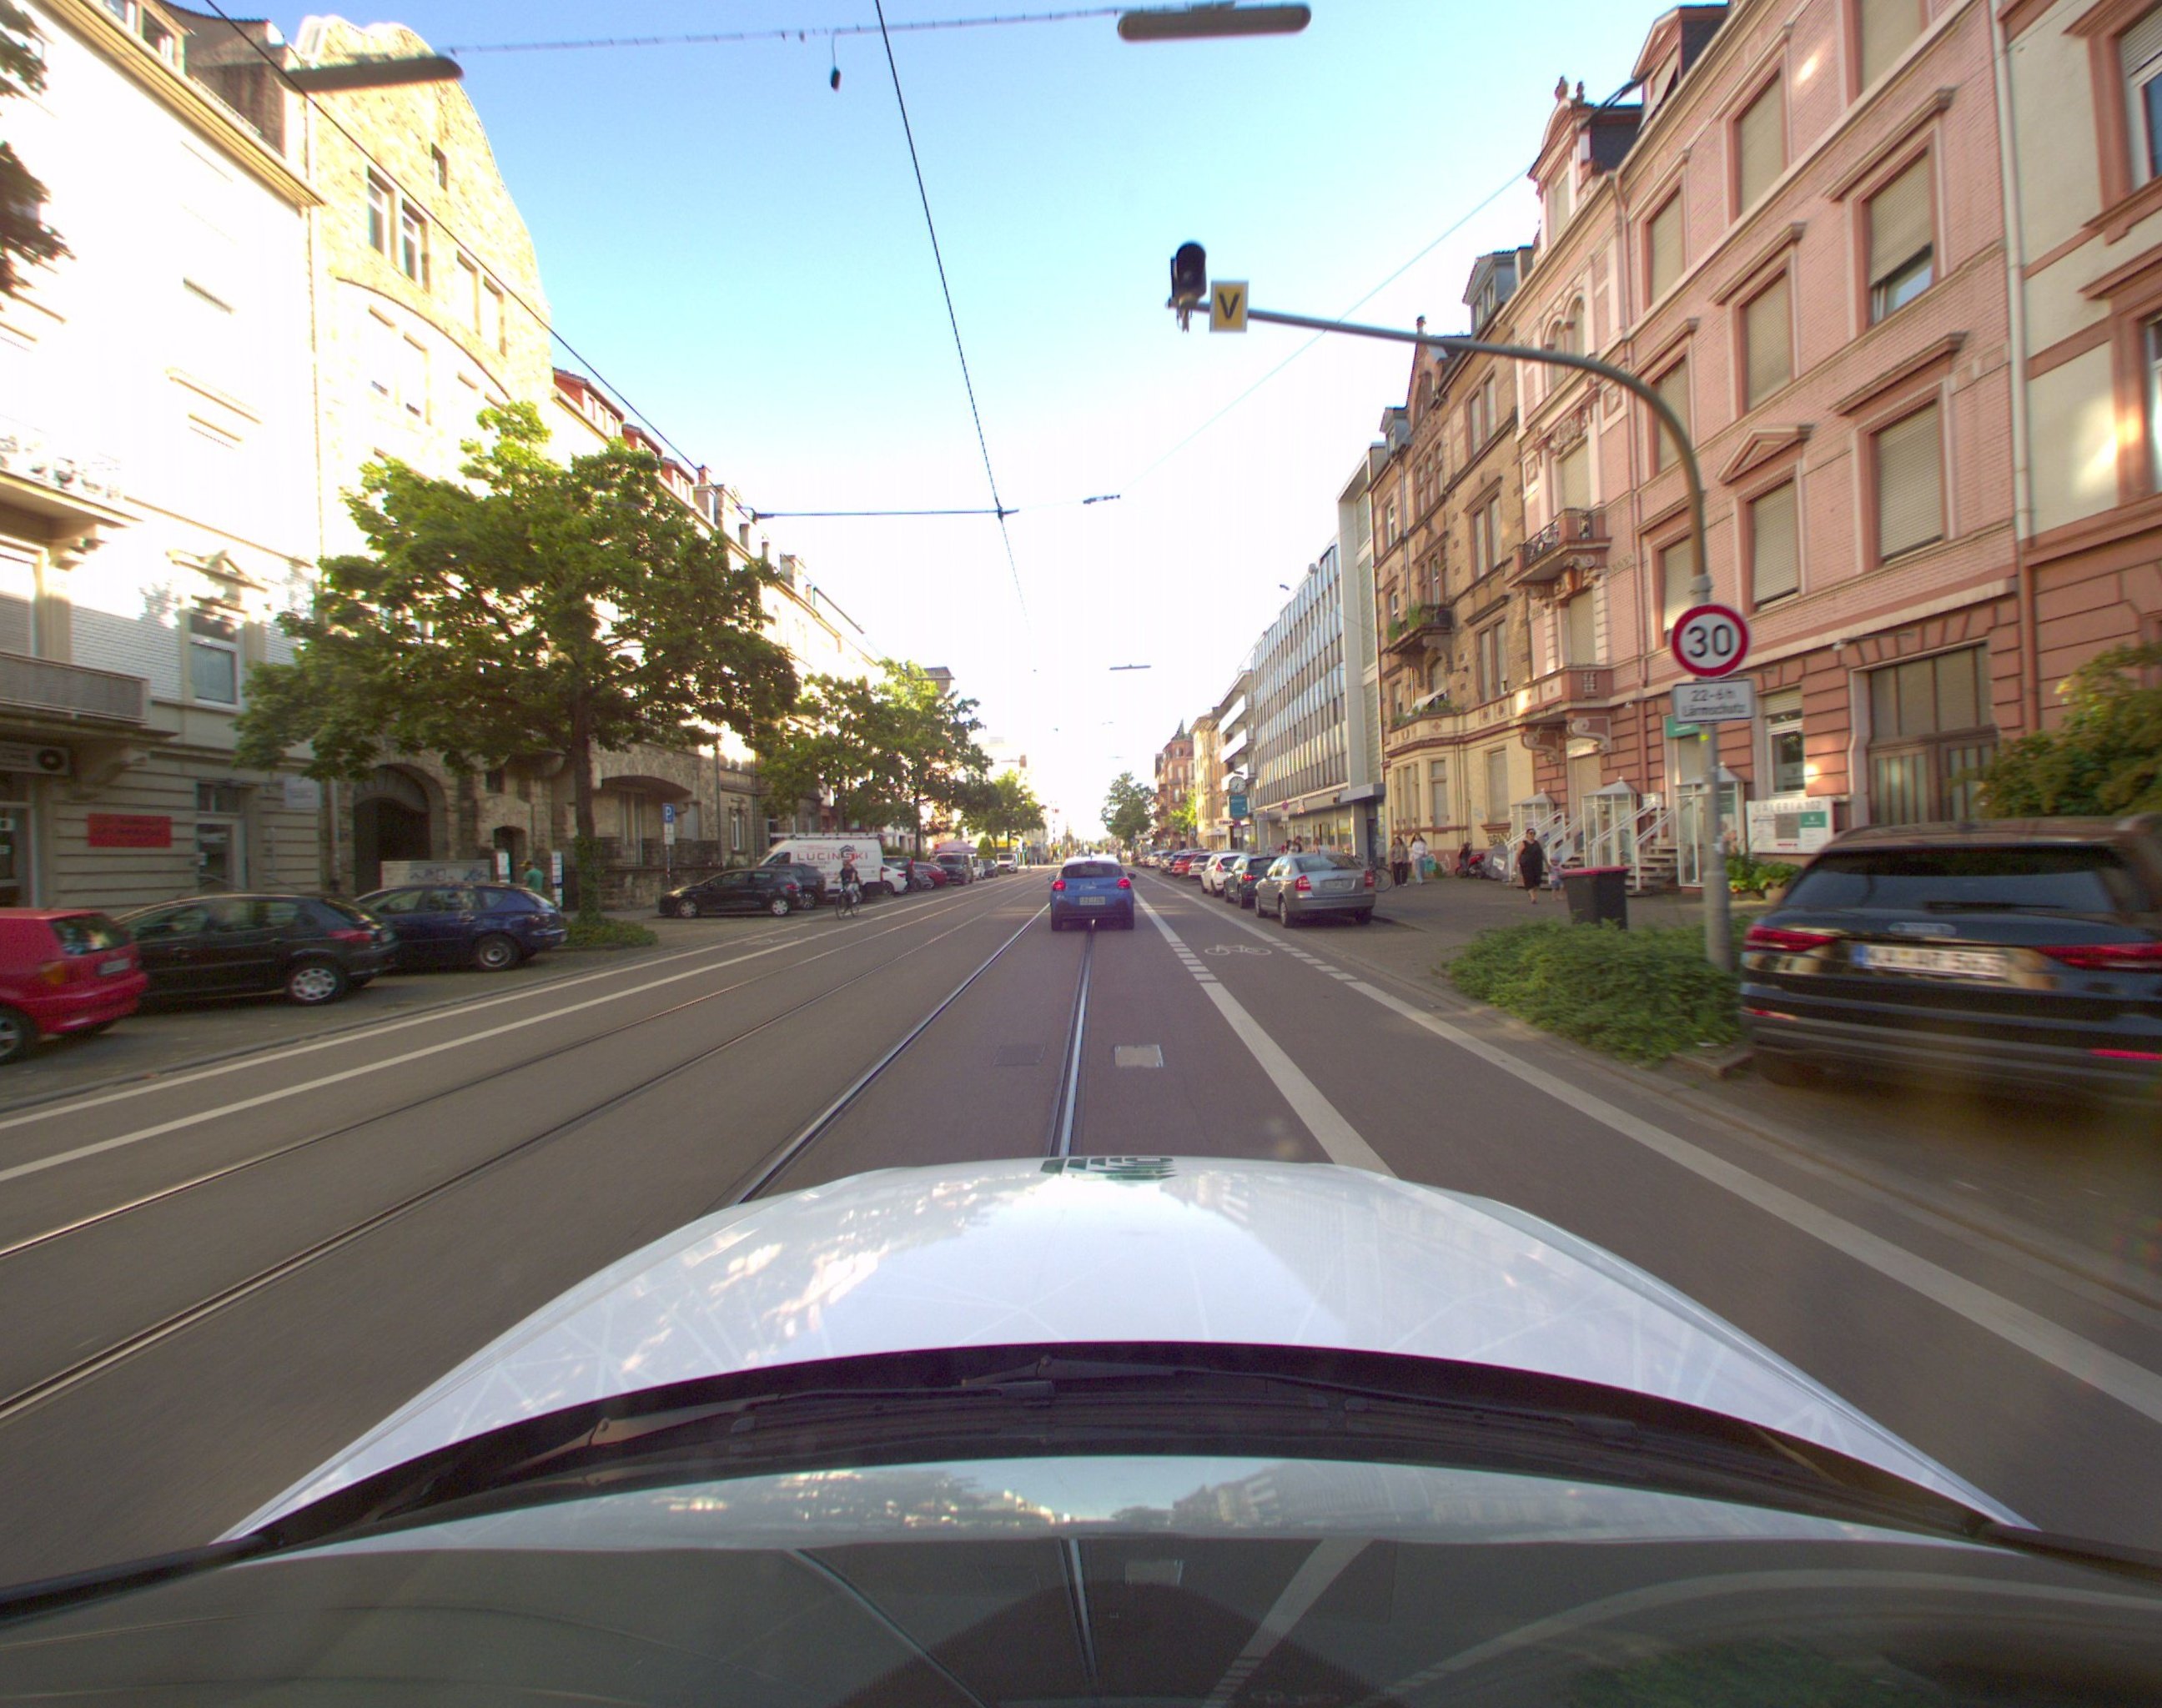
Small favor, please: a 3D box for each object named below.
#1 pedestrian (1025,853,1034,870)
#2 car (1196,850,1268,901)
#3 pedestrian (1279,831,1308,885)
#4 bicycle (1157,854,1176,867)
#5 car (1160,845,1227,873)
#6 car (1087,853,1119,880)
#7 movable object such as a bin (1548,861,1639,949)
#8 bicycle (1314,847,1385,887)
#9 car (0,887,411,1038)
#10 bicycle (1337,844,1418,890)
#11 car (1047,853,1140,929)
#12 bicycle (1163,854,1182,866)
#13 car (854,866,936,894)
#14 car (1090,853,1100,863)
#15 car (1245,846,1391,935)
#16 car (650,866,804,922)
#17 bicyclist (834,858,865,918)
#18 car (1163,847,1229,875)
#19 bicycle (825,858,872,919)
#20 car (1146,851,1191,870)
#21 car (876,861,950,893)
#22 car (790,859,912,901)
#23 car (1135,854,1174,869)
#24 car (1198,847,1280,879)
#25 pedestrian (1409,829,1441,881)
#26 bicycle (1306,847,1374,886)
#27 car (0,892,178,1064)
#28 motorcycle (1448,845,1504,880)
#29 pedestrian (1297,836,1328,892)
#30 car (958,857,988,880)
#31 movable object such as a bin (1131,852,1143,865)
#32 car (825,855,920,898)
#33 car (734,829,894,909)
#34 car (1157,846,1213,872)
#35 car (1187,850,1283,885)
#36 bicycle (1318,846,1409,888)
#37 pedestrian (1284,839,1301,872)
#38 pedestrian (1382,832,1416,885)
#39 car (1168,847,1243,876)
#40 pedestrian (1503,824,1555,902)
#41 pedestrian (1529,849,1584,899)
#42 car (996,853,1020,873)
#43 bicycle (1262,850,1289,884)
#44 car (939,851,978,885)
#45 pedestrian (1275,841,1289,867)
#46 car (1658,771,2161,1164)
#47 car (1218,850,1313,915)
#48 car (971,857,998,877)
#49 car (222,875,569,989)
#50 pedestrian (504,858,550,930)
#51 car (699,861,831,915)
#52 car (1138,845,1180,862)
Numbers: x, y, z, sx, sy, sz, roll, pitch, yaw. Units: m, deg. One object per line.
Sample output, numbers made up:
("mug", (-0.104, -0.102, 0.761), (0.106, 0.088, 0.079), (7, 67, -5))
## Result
("pedestrian", (-5.247, 0.792, 83.131), (0.732, 1.726, 0.623), (-1, -1, -23))
("car", (5.196, 0.707, 28.429), (1.866, 1.596, 4.002), (-2, 0, 2))
("pedestrian", (6.708, 0.114, 25.767), (0.709, 1.671, 0.654), (-1, -1, 0))
("bicycle", (7.318, 0.540, 69.660), (0.557, 1.047, 1.789), (-1, -1, -34))
("car", (7.050, 0.307, 51.093), (3.743, 1.652, 2.027), (-1, -1, -32))
("car", (1.385, 0.771, 50.761), (1.866, 1.596, 4.002), (-2, 0, 2))
("movable object such as a bin", (6.380, 0.612, 10.173), (0.602, 1.027, 0.806), (-2, -1, 1))
("bicycle", (8.560, 0.416, 25.982), (2.012, 1.221, 0.664), (-2, -1, 0))
("car", (-11.227, 1.254, 10.282), (4.013, 1.489, 1.788), (-1, -1, -31))
("bicycle", (8.550, 0.380, 23.528), (2.050, 1.221, 0.663), (-2, -1, -1))
("car", (0.286, 0.729, 17.580), (1.756, 1.441, 3.557), (-2, 0, 1))
("bicycle", (7.854, 0.520, 70.008), (0.557, 1.047, 1.789), (-1, -1, -34))
("car", (-9.432, 1.292, 41.235), (3.815, 1.265, 1.504), (-1, 0, -24))
("car", (2.234, 0.611, 129.079), (1.417, 1.432, 3.140), (-2, 0, 2))
("car", (4.842, 0.694, 17.402), (1.866, 1.596, 4.721), (-2, 0, 2))
("car", (-10.629, 1.163, 24.754), (3.994, 1.489, 1.797), (-1, 0, -15))
("bicyclist", (-6.703, 0.970, 23.599), (0.632, 1.681, 0.727), (-2, -1, 1))
("car", (6.785, 0.410, 48.089), (3.463, 1.555, 1.806), (-1, -1, -30))
("bicycle", (-6.696, 0.954, 23.572), (0.678, 1.678, 2.097), (-2, 0, 2))
("car", (7.903, 0.574, 73.601), (3.674, 1.574, 1.844), (-1, -1, -27))
("car", (-9.211, 1.239, 44.518), (3.736, 1.622, 1.777), (-1, 0, -20))
("car", (-9.897, 1.078, 35.211), (4.787, 1.618, 1.695), (-1, -1, -31))
("car", (7.774, 0.818, 86.362), (3.664, 1.534, 1.778), (-1, 0, -18))
("car", (8.067, 0.437, 41.520), (3.796, 1.487, 1.822), (-1, 0, -28))
("pedestrian", (10.884, 0.041, 25.788), (0.709, 1.607, 0.654), (-1, -1, 0))
("bicycle", (8.558, 0.409, 26.959), (2.012, 1.221, 0.664), (-2, -1, 0))
("car", (-11.516, 1.202, 7.413), (4.013, 1.489, 1.849), (-1, -1, -31))
("motorcycle", (12.292, 0.258, 25.416), (0.505, 0.991, 2.520), (-5, 0, 2))
("pedestrian", (6.910, 0.296, 24.359), (0.709, 1.607, 0.654), (-1, -1, 0))
("car", (-7.956, 1.070, 60.391), (1.742, 1.618, 4.408), (-1, 0, -2))
("movable object such as a bin", (6.583, 0.491, 95.693), (1.389, 1.483, 1.656), (-2, 0, 1))
("car", (-9.706, 1.004, 37.927), (4.006, 1.817, 1.699), (-1, -1, -24))
("car", (-9.909, 0.505, 30.334), (5.402, 2.749, 1.789), (-1, -1, -29))
("car", (6.877, 0.314, 53.830), (3.467, 1.640, 1.666), (-1, -1, -35))
("car", (7.283, 0.626, 38.455), (4.465, 1.508, 1.522), (-1, -1, -28))
("bicycle", (8.595, 0.394, 24.810), (2.529, 1.221, 0.664), (-2, -1, 0))
("pedestrian", (11.485, 0.089, 44.233), (0.690, 1.756, 0.678), (-2, -1, 1))
("pedestrian", (10.099, 0.153, 25.858), (0.709, 1.607, 0.654), (-5, -1, 0))
("car", (6.948, 0.415, 45.524), (3.743, 1.521, 1.949), (-1, -1, -32))
("pedestrian", (9.394, 0.187, 17.099), (0.709, 1.607, 0.654), (-1, -1, 0))
("pedestrian", (10.117, 0.424, 17.333), (0.709, 0.980, 0.654), (-5, -1, 0))
("car", (-7.091, 0.873, 79.283), (1.825, 1.848, 4.215), (-2, 0, 2))
("bicycle", (7.150, 0.474, 30.026), (0.690, 1.185, 1.239), (-2, 0, 1))
("car", (-7.636, 0.867, 51.345), (1.742, 1.973, 5.237), (-1, 0, -1))
("pedestrian", (12.438, -0.023, 50.412), (0.690, 1.587, 0.678), (-2, -1, 1))
("car", (5.760, 0.438, 5.169), (4.333, 1.596, 1.962), (-1, -1, -33))
("car", (5.062, 0.742, 22.891), (1.866, 1.596, 4.002), (-2, 0, 2))
("car", (-7.729, 1.019, 65.730), (1.742, 1.487, 4.039), (-1, 0, -2))
("car", (-10.899, 1.166, 13.383), (4.008, 1.489, 1.790), (-1, 0, -27))
("pedestrian", (-13.723, 0.971, 20.199), (0.575, 1.726, 0.762), (-1, -1, 1))
("car", (-10.604, 1.086, 27.394), (4.006, 1.618, 1.699), (-1, -1, -24))
("car", (7.655, -0.046, 79.786), (3.664, 1.574, 1.849), (-1, 0, -18))
